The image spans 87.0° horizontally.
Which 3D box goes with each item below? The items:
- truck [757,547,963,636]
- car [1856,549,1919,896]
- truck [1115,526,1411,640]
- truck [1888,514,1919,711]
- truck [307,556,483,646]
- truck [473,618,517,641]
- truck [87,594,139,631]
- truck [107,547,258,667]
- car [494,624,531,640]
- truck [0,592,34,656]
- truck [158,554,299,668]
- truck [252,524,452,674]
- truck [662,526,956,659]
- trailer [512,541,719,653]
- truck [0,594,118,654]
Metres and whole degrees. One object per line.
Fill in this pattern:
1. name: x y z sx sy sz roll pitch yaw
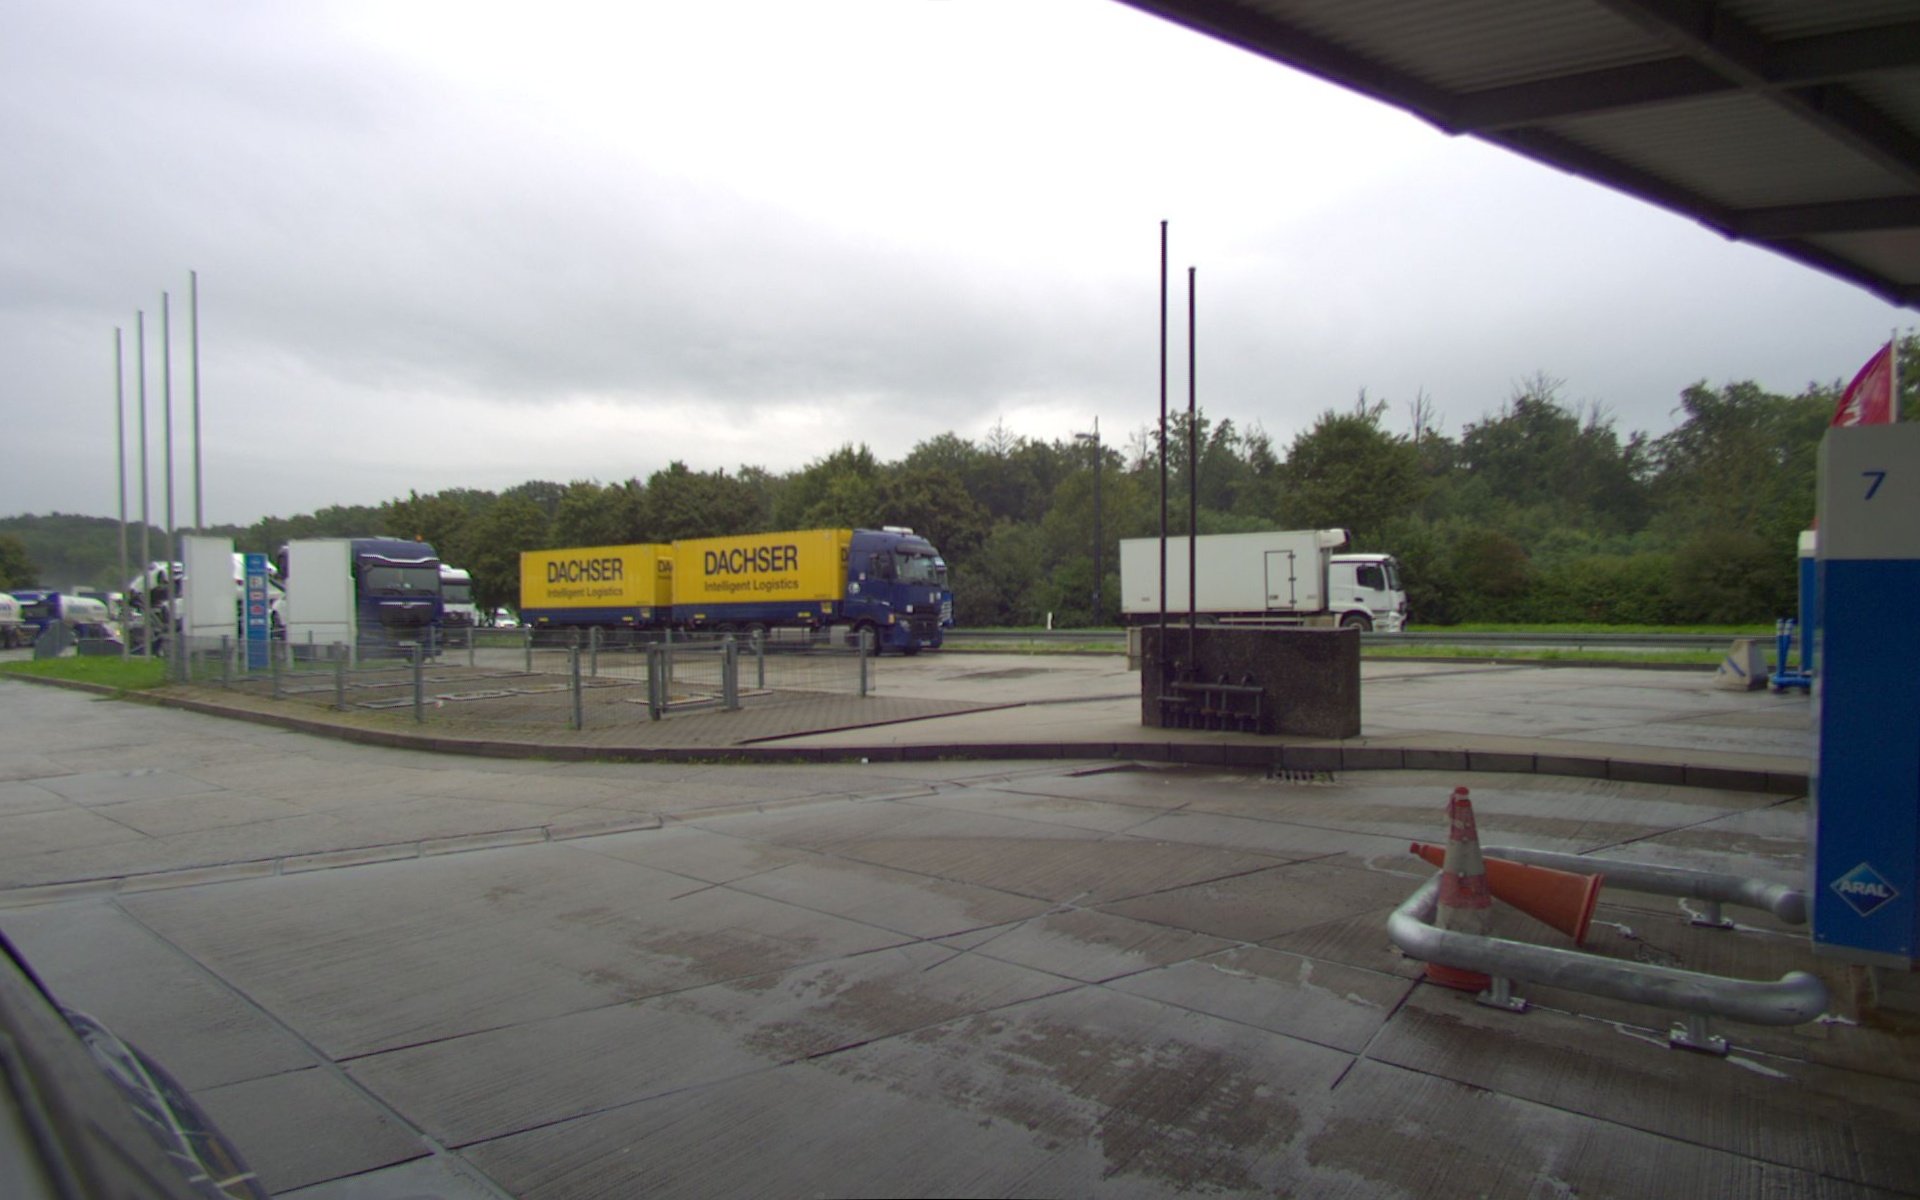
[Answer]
1. truck: -4.868 -0.318 47.641 10.195 3.836 2.395 -1 0 31
2. car: 6.917 0.541 3.796 5.269 1.620 1.842 -1 0 41
3. truck: 10.979 -0.521 37.444 10.195 3.836 2.395 -1 0 31
4. truck: 15.001 0.122 11.950 5.859 2.513 2.208 -1 0 41
5. truck: -27.308 0.102 48.627 10.654 3.946 2.727 -1 0 33
6. truck: -47.399 3.021 103.151 4.620 2.282 1.712 -1 0 30
7. truck: -123.752 1.824 147.768 11.498 5.160 3.109 -1 0 36
8. truck: -29.579 0.298 38.446 6.605 4.213 2.635 -1 0 35
9. car: -50.357 3.583 113.806 3.980 1.706 1.688 -1 0 28
10. truck: -55.145 1.338 53.691 3.454 3.633 14.444 -1 -1 -19
11. truck: -26.097 0.394 36.073 4.738 3.800 2.635 -1 0 34
12. truck: -19.000 0.010 31.476 7.089 4.213 2.635 -1 0 35
13. truck: -5.327 -0.181 34.026 10.654 3.946 2.727 -1 0 33
14. trailer: -13.489 -0.076 39.256 8.679 3.946 2.728 -1 0 32
15. truck: -61.482 1.620 68.658 3.454 3.633 14.709 -1 -1 -27
